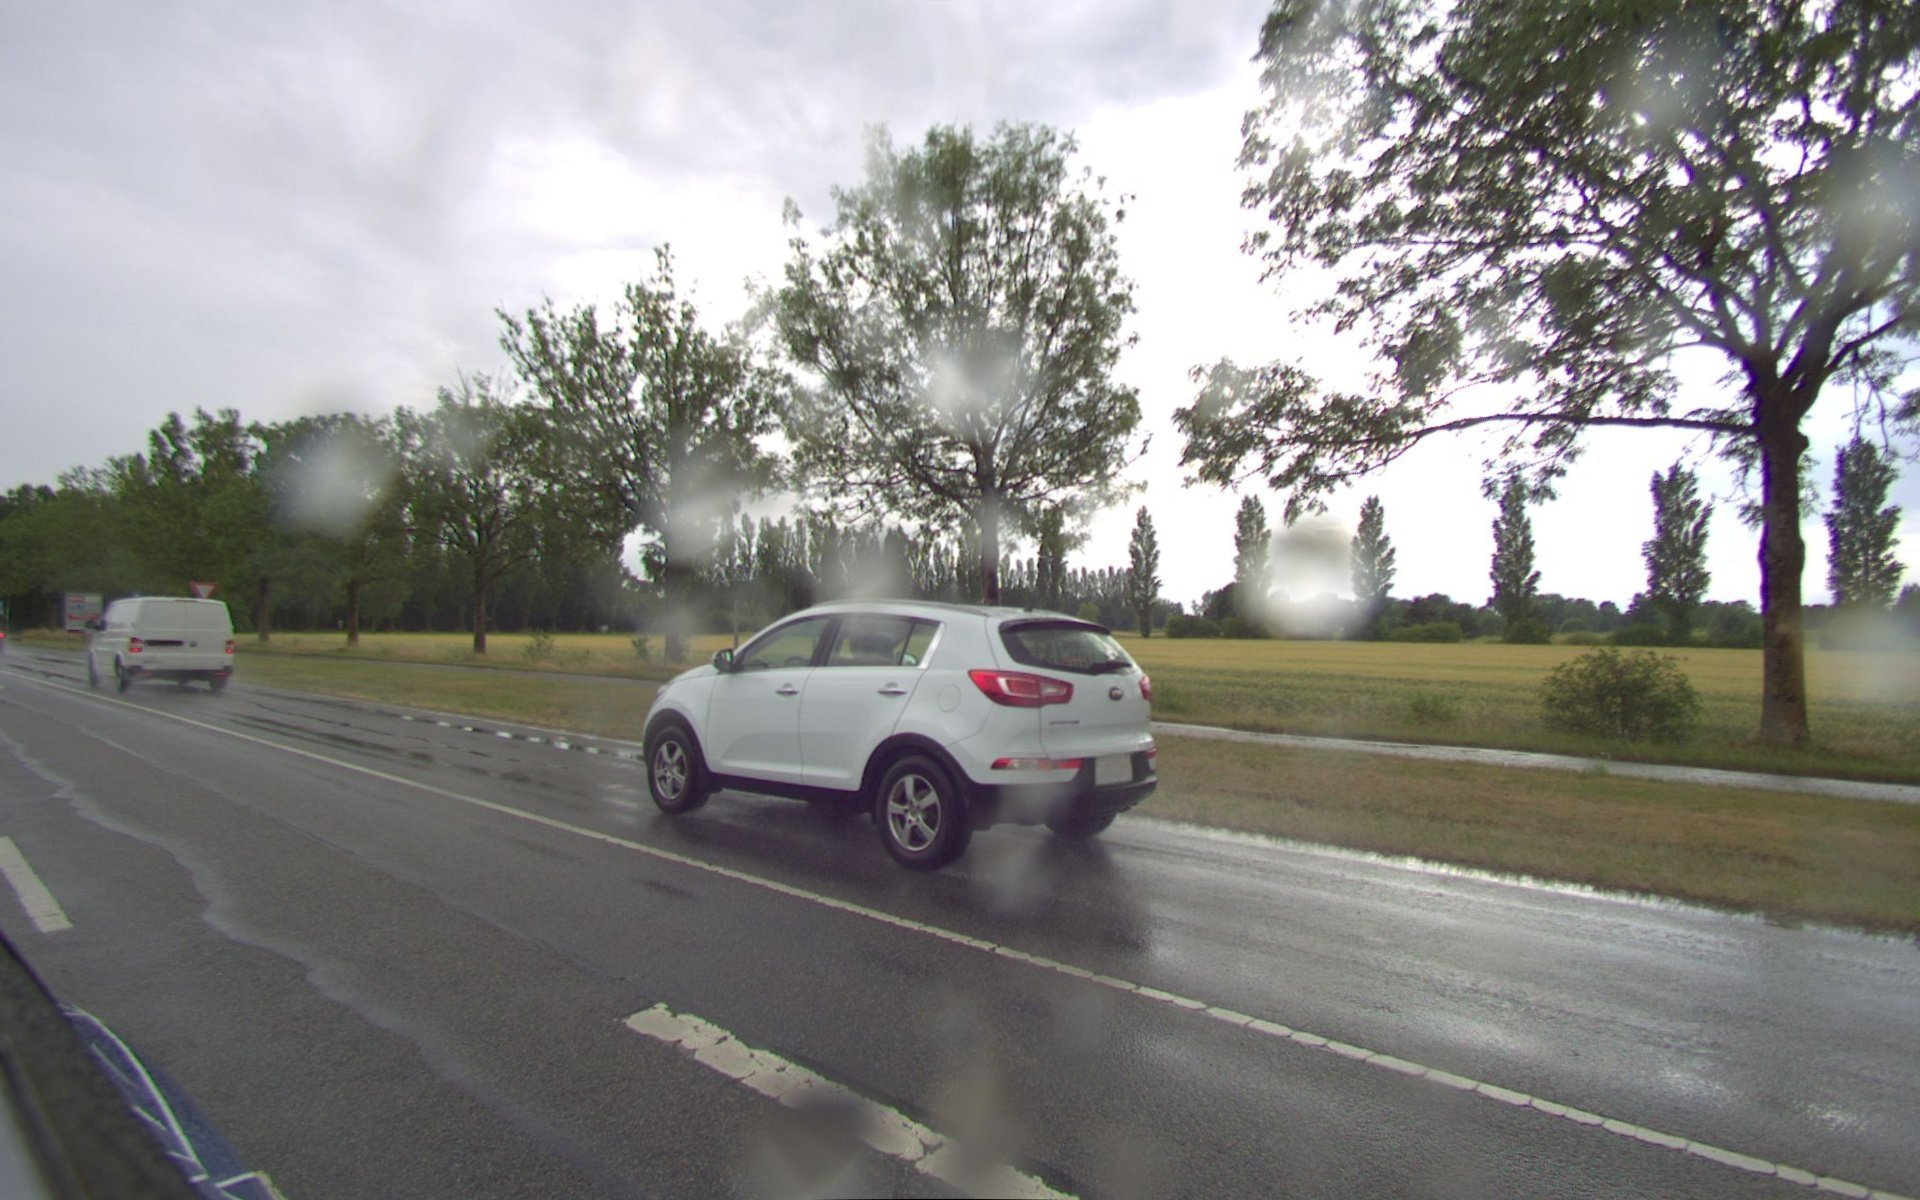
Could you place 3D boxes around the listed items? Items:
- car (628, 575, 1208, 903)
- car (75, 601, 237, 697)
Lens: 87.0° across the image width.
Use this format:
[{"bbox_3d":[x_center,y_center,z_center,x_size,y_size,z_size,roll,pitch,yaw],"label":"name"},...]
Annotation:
[{"bbox_3d":[-0.513,0.790,7.257,4.155,1.684,1.685,-1,-4,43],"label":"car"},{"bbox_3d":[-17.694,1.038,22.200,4.683,1.876,1.896,-1,-4,41],"label":"car"}]
